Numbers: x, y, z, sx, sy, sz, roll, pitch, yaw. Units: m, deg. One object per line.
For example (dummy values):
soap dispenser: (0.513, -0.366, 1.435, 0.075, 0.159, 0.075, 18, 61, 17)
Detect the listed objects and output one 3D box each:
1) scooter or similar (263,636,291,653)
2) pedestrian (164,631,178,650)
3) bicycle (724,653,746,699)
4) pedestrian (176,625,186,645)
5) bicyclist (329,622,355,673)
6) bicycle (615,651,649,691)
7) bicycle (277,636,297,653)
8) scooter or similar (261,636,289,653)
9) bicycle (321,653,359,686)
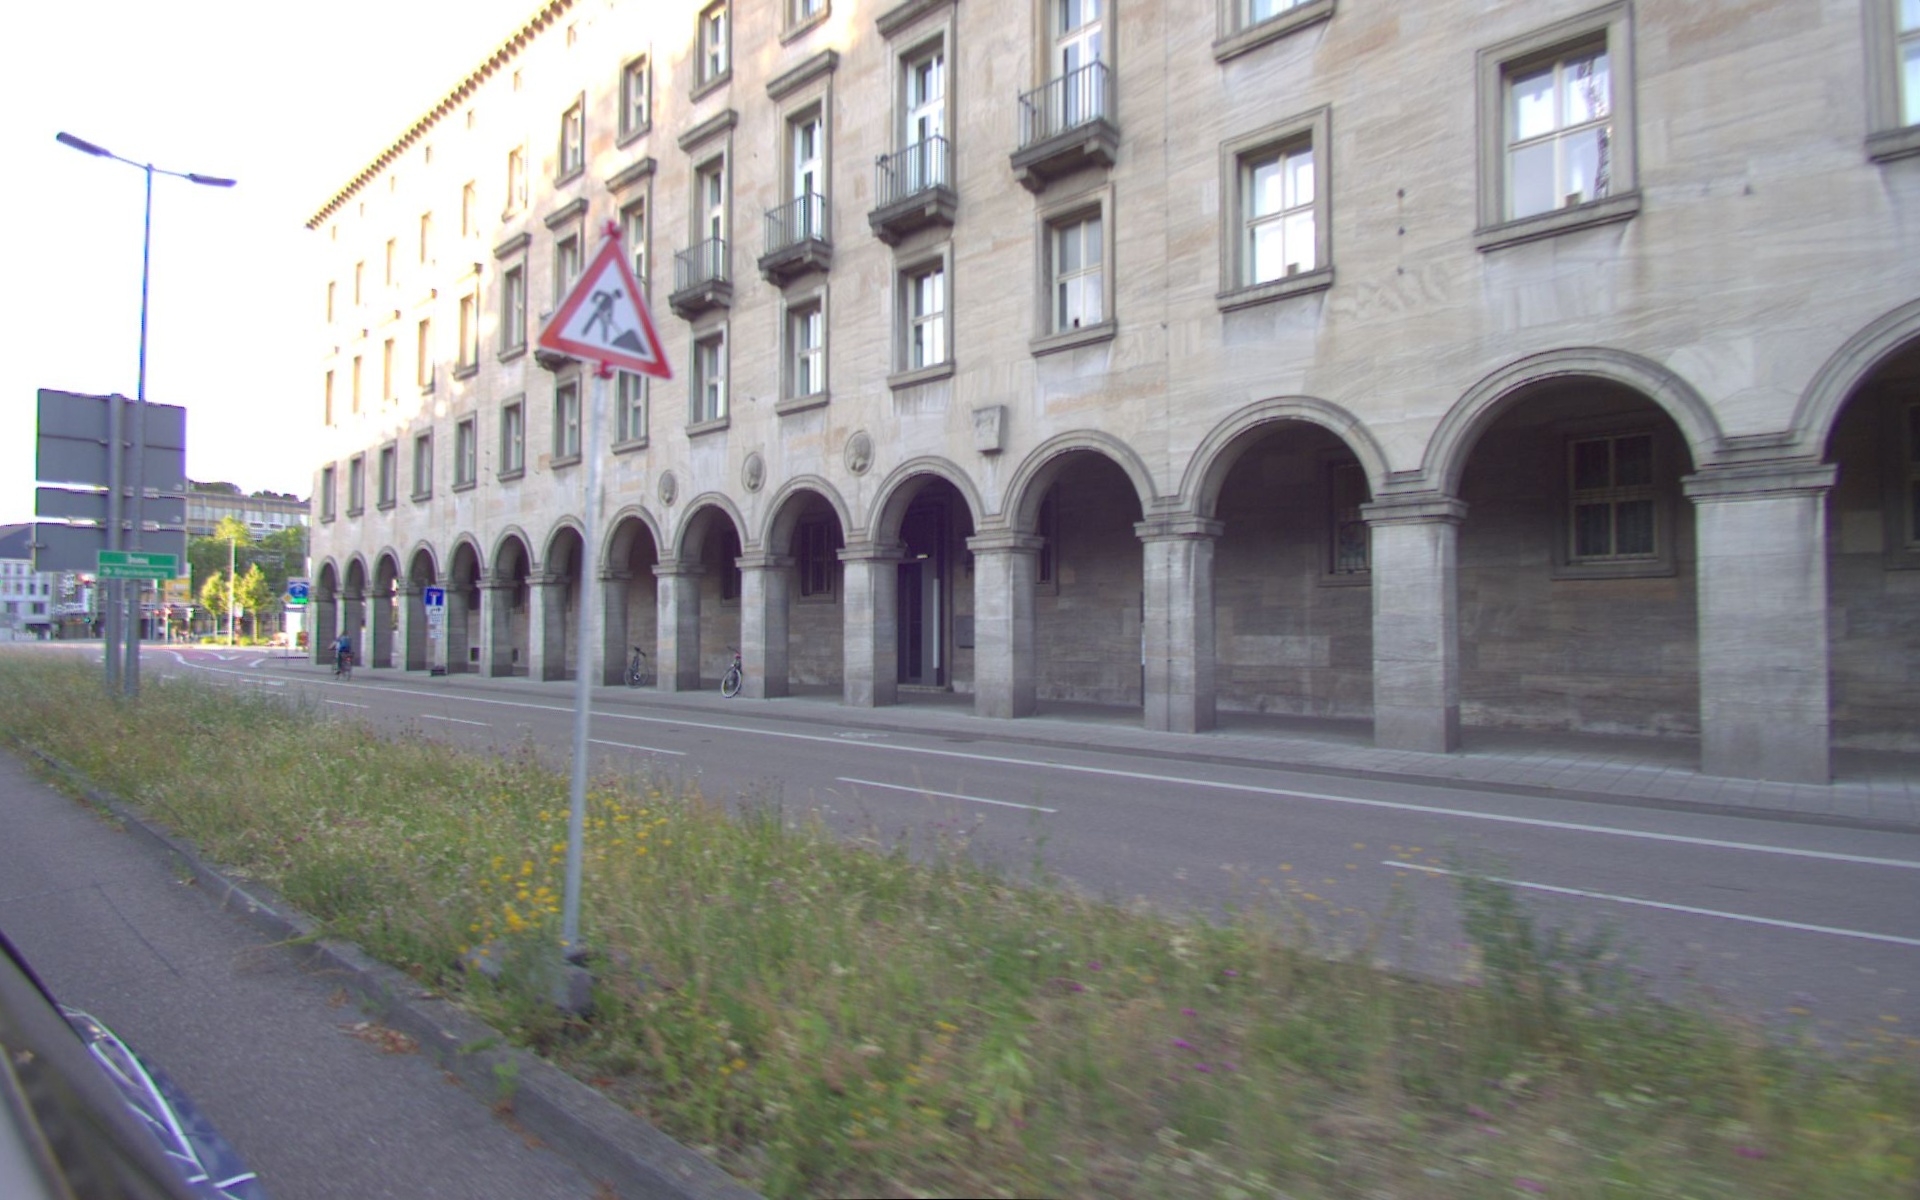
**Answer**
scooter or similar: (-55.896, 3.639, 82.839, 0.422, 1.315, 1.819, -1, -3, 35)
pedestrian: (-74.339, 3.818, 95.340, 0.775, 1.851, 0.862, -2, -3, 43)
bicycle: (-5.319, 1.777, 23.939, 0.471, 1.013, 2.010, 1, -2, -12)
pedestrian: (-74.482, 3.341, 96.746, 0.648, 1.948, 0.652, -3, -4, 43)
bicyclist: (-20.866, 1.603, 34.163, 0.748, 1.706, 0.530, -2, -3, 42)
bicycle: (-8.920, 1.903, 27.469, 0.470, 1.013, 2.011, 1, -2, -29)
bicycle: (-54.298, 3.562, 81.628, 2.507, 1.334, 0.611, -2, -3, 40)
scooter or similar: (-56.247, 3.654, 83.107, 0.422, 1.315, 1.814, -1, -3, 35)
bicycle: (-21.009, 2.339, 34.264, 2.004, 1.013, 0.536, 0, -1, 42)
